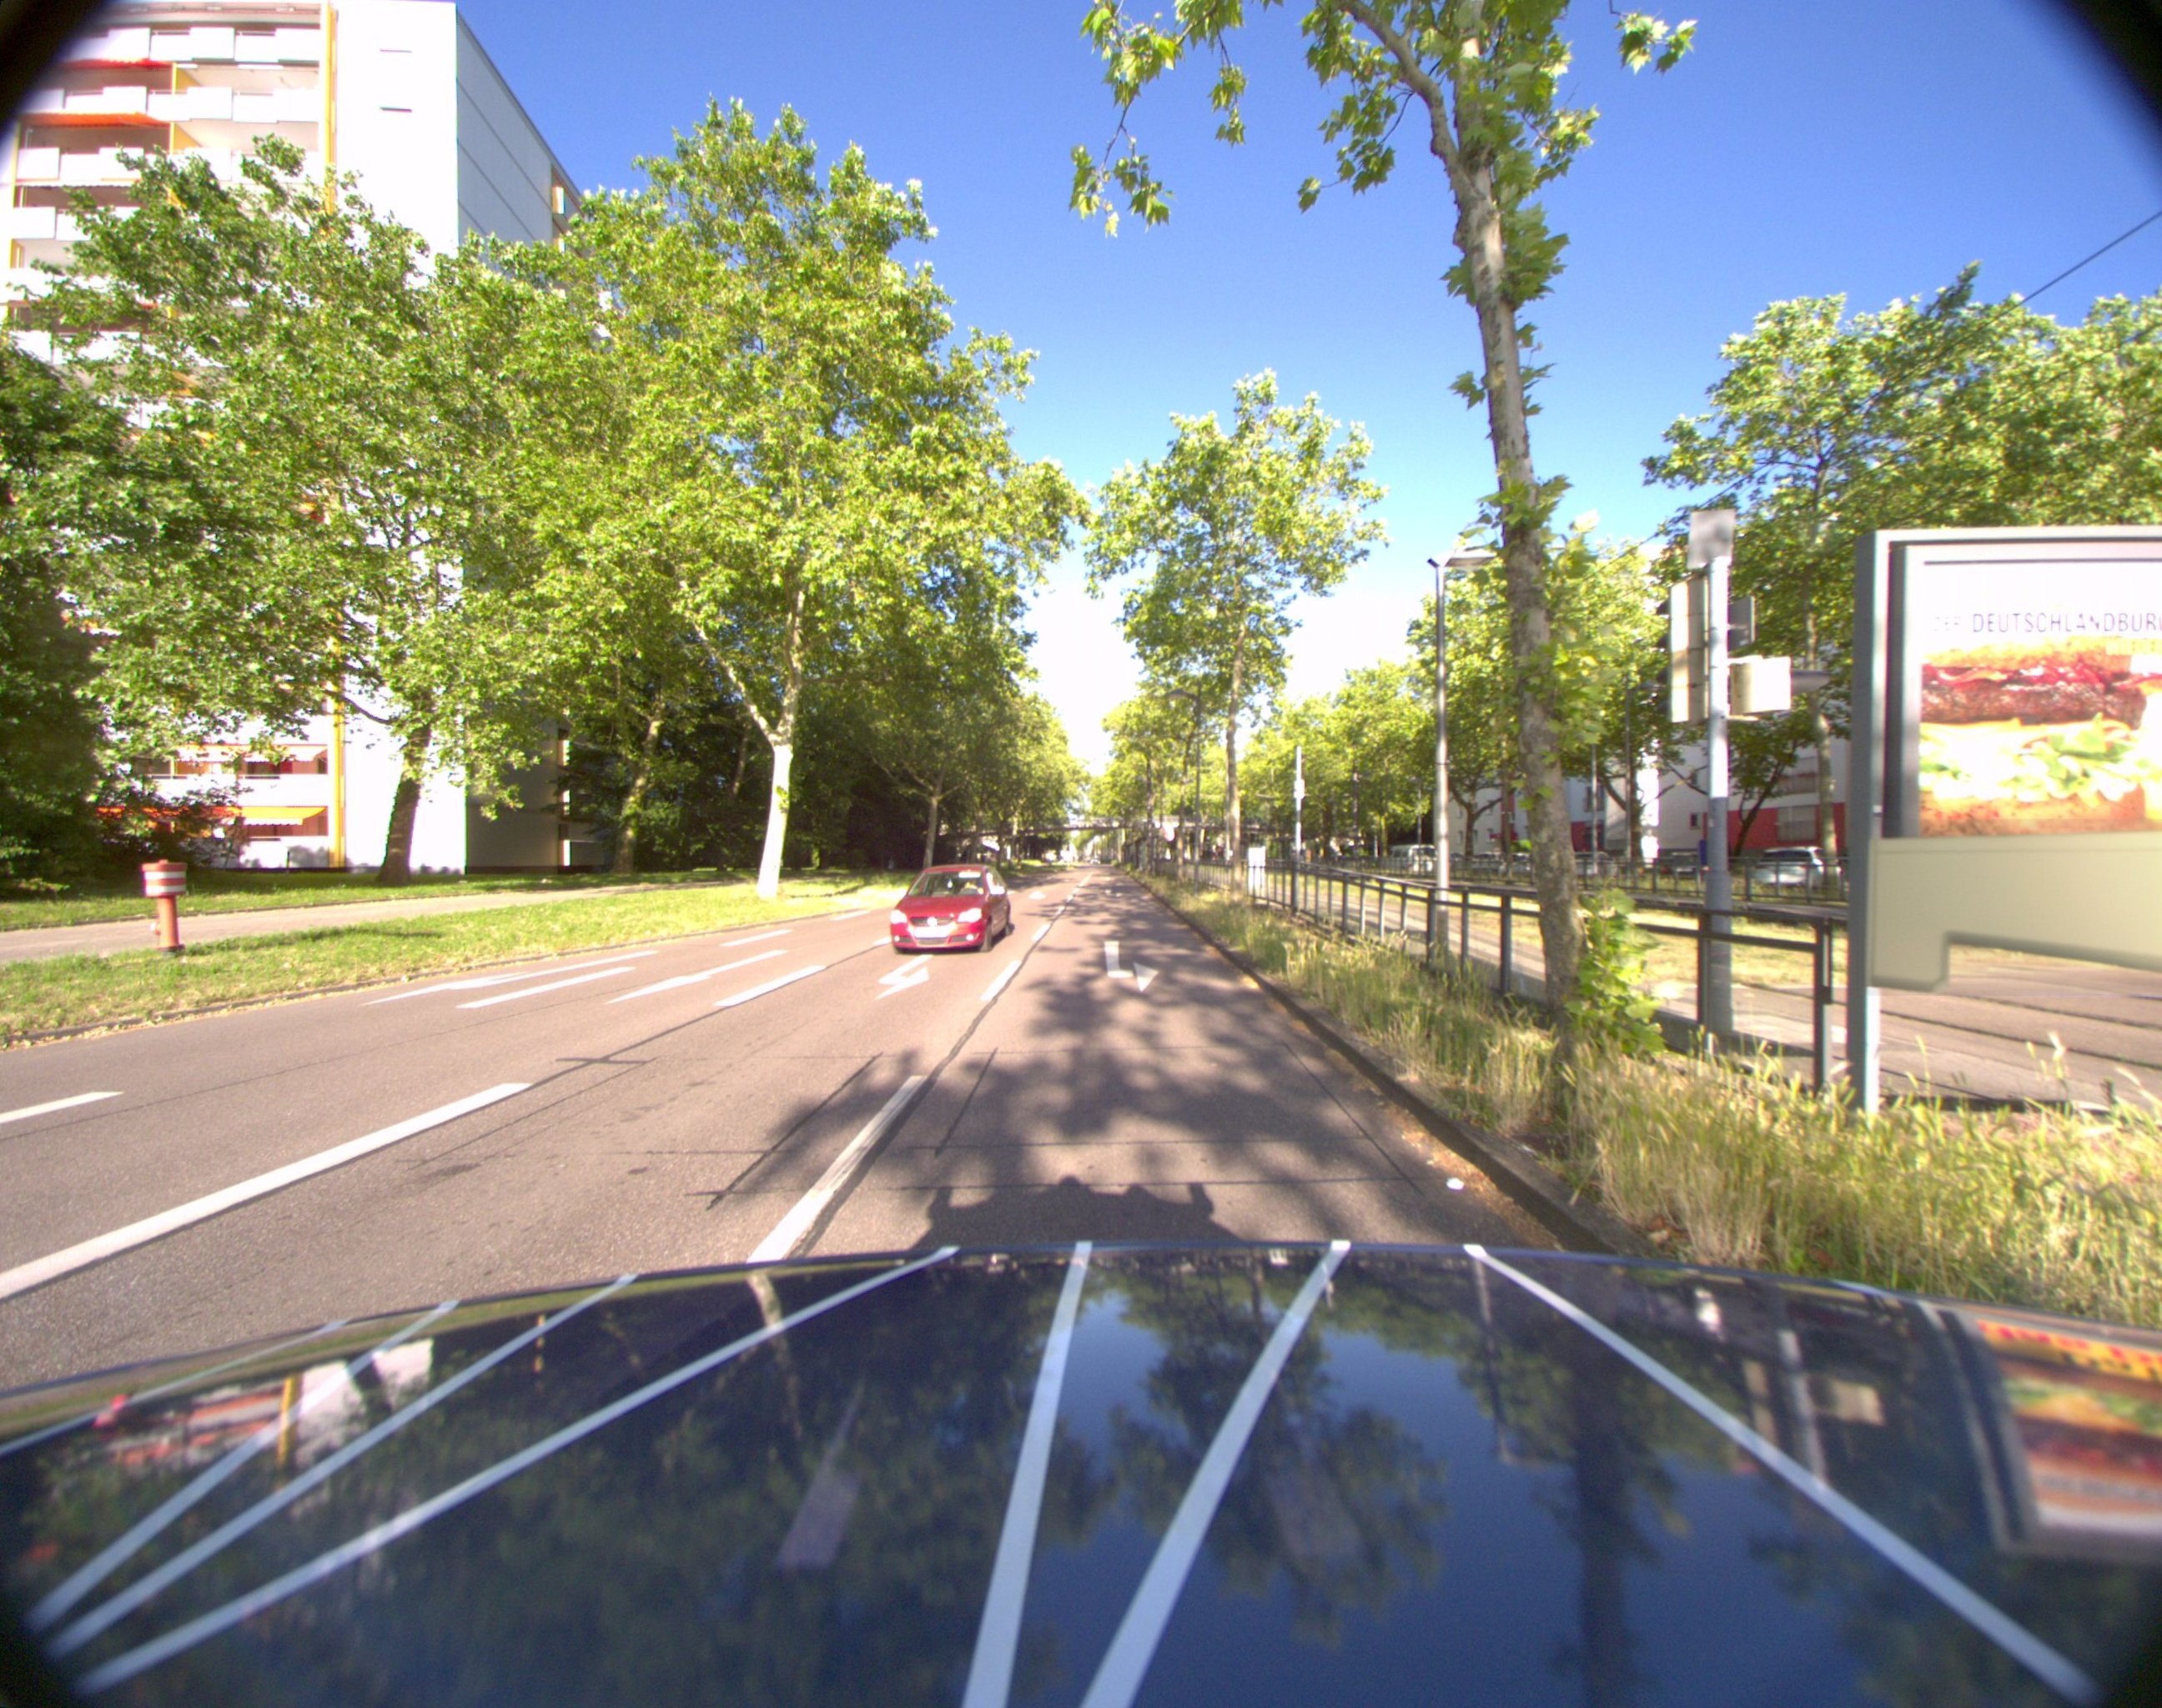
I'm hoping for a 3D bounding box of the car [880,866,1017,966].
[{"bbox_3d":[-2.260,1.012,13.904,1.646,1.430,3.761,-2,1,2],"label":"car"}]

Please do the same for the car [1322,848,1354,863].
[{"bbox_3d":[26.923,0.164,79.592,3.742,1.517,1.597,-1,1,-43],"label":"car"}]

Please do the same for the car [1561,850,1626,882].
[{"bbox_3d":[25.563,0.583,37.865,3.890,1.406,1.486,-3,1,-37],"label":"car"}]

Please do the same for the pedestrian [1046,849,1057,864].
[{"bbox_3d":[-4.040,0.326,103.563,0.917,2.002,0.964,-2,1,35],"label":"pedestrian"}]

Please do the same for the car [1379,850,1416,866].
[{"bbox_3d":[26.633,0.308,63.842,3.494,1.293,1.476,-1,0,-41],"label":"car"}]

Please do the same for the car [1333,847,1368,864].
[{"bbox_3d":[26.059,0.183,73.384,3.835,1.561,1.597,-1,1,-43],"label":"car"}]

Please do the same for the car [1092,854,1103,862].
[{"bbox_3d":[3.238,0.729,147.543,1.798,1.465,3.998,-3,1,-3],"label":"car"}]

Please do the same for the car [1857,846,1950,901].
[{"bbox_3d":[25.137,0.559,23.181,3.770,1.420,1.555,-3,1,-37],"label":"car"}]

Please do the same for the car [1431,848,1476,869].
[{"bbox_3d":[26.421,0.280,53.914,3.494,1.395,1.623,-1,0,-41],"label":"car"}]

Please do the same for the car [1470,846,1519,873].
[{"bbox_3d":[25.909,0.330,47.520,3.493,1.417,1.558,-3,-1,-42],"label":"car"}]

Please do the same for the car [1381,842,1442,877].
[{"bbox_3d":[19.625,0.292,45.320,1.795,1.980,4.653,-1,0,3],"label":"car"}]

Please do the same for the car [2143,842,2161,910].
[{"bbox_3d":[24.621,0.522,16.226,4.007,1.479,1.689,-3,1,-44],"label":"car"}]

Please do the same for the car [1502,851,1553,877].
[{"bbox_3d":[26.216,0.558,44.566,3.493,1.321,1.476,-3,0,-41],"label":"car"}]

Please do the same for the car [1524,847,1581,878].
[{"bbox_3d":[25.707,0.469,41.395,3.402,1.499,1.461,-3,1,-37],"label":"car"}]

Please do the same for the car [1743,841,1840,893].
[{"bbox_3d":[25.128,0.431,26.836,4.007,1.586,1.810,-3,1,-37],"label":"car"}]

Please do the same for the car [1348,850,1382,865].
[{"bbox_3d":[26.086,0.297,69.787,3.494,1.312,1.476,-1,0,-41],"label":"car"}]
